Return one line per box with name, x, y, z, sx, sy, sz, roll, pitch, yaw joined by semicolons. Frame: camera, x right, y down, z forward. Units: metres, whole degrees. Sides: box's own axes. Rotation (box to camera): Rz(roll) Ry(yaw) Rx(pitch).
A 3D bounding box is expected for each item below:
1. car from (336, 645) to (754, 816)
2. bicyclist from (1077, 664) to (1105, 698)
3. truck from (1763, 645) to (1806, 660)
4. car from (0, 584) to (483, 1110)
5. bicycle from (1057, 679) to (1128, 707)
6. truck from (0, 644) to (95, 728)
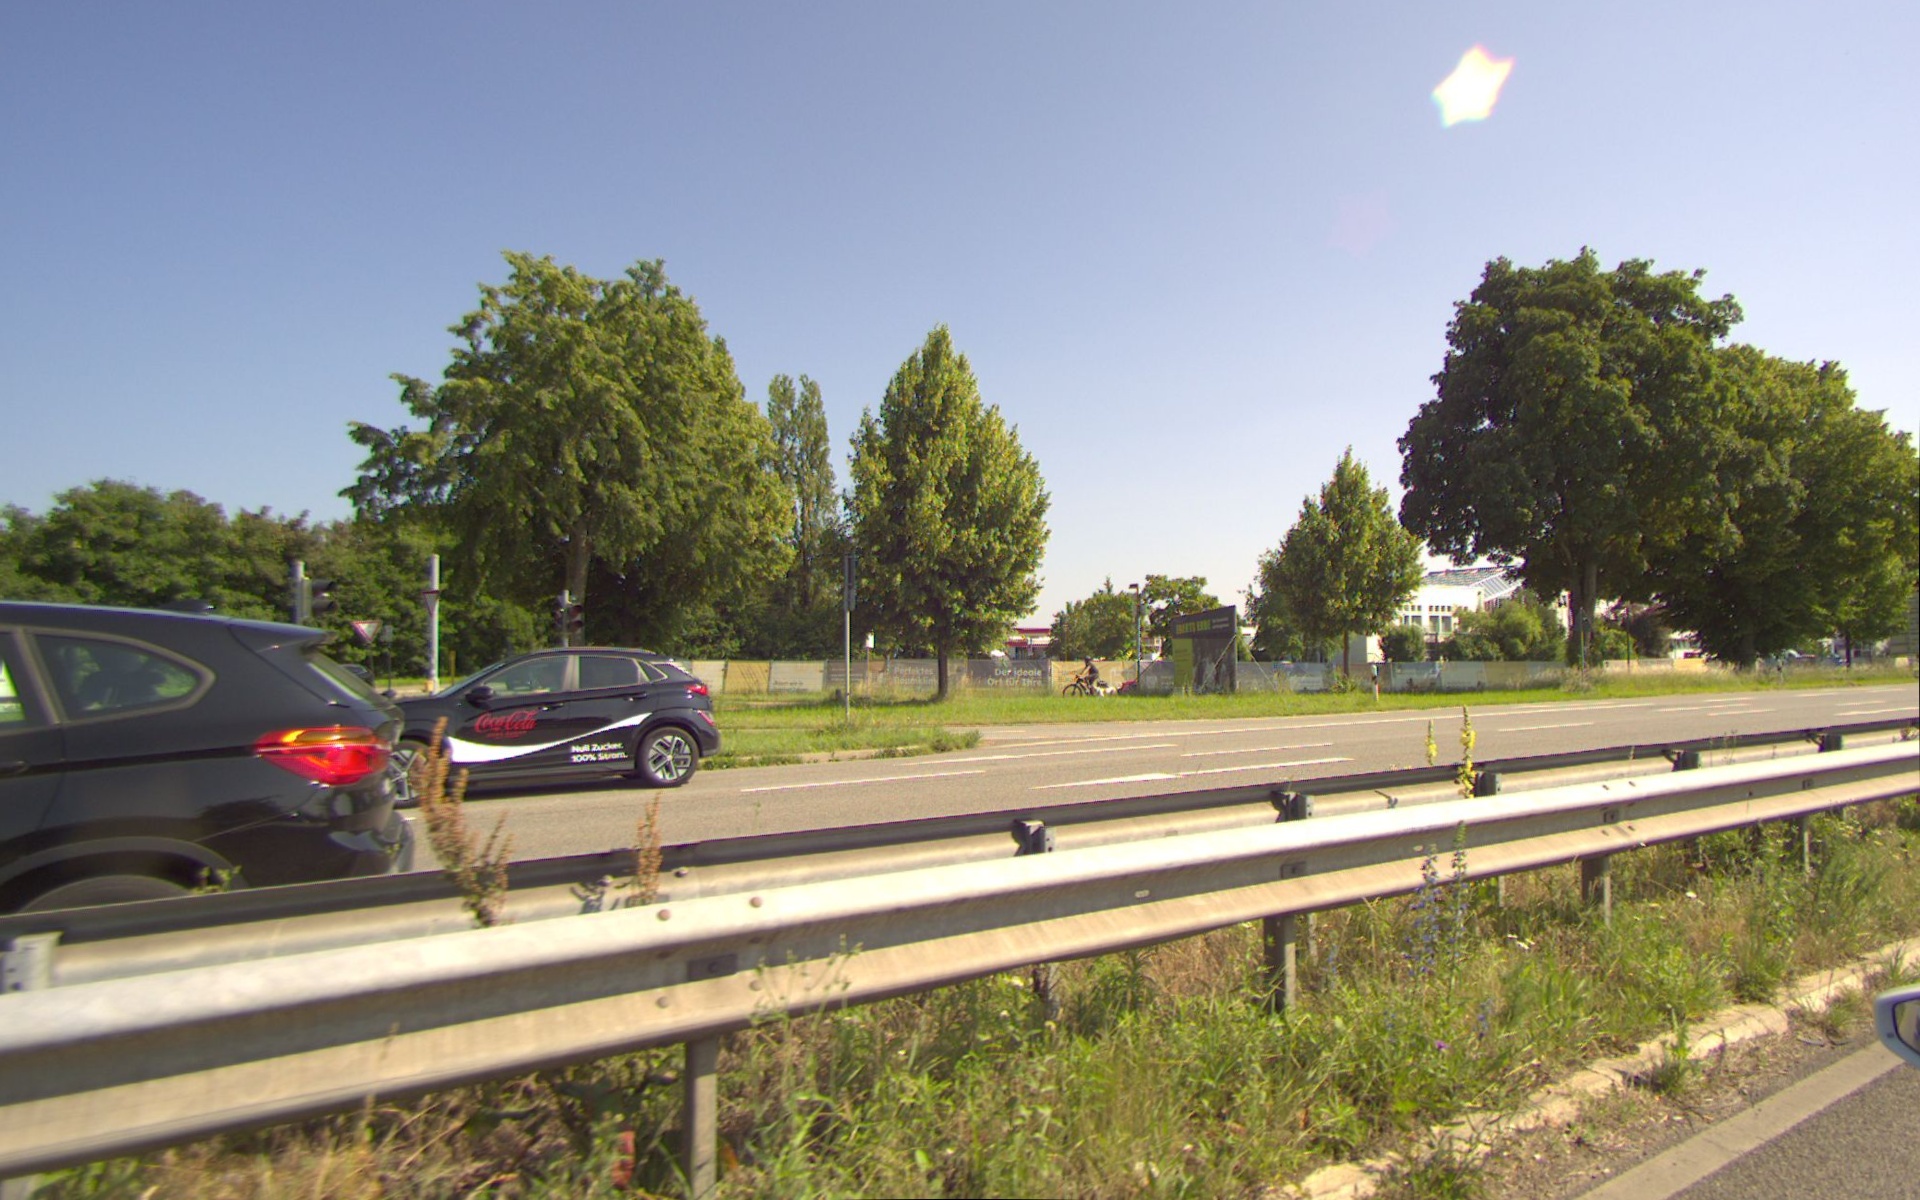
car;-4.552;1.348;11.254;4.039;1.574;1.839;1;-5;-30
bicyclist;4.835;3.002;37.167;0.877;1.232;0.610;0;-2;-10
truck;120.766;7.720;147.171;2.028;2.040;4.480;2;-2;-30
car;-4.235;0.796;3.416;4.564;1.615;1.838;2;-4;-31
bicycle;4.897;3.420;37.157;2.466;0.962;0.839;0;-2;-10
truck;-28.927;2.489;28.973;2.333;2.420;6.045;-1;-3;6
